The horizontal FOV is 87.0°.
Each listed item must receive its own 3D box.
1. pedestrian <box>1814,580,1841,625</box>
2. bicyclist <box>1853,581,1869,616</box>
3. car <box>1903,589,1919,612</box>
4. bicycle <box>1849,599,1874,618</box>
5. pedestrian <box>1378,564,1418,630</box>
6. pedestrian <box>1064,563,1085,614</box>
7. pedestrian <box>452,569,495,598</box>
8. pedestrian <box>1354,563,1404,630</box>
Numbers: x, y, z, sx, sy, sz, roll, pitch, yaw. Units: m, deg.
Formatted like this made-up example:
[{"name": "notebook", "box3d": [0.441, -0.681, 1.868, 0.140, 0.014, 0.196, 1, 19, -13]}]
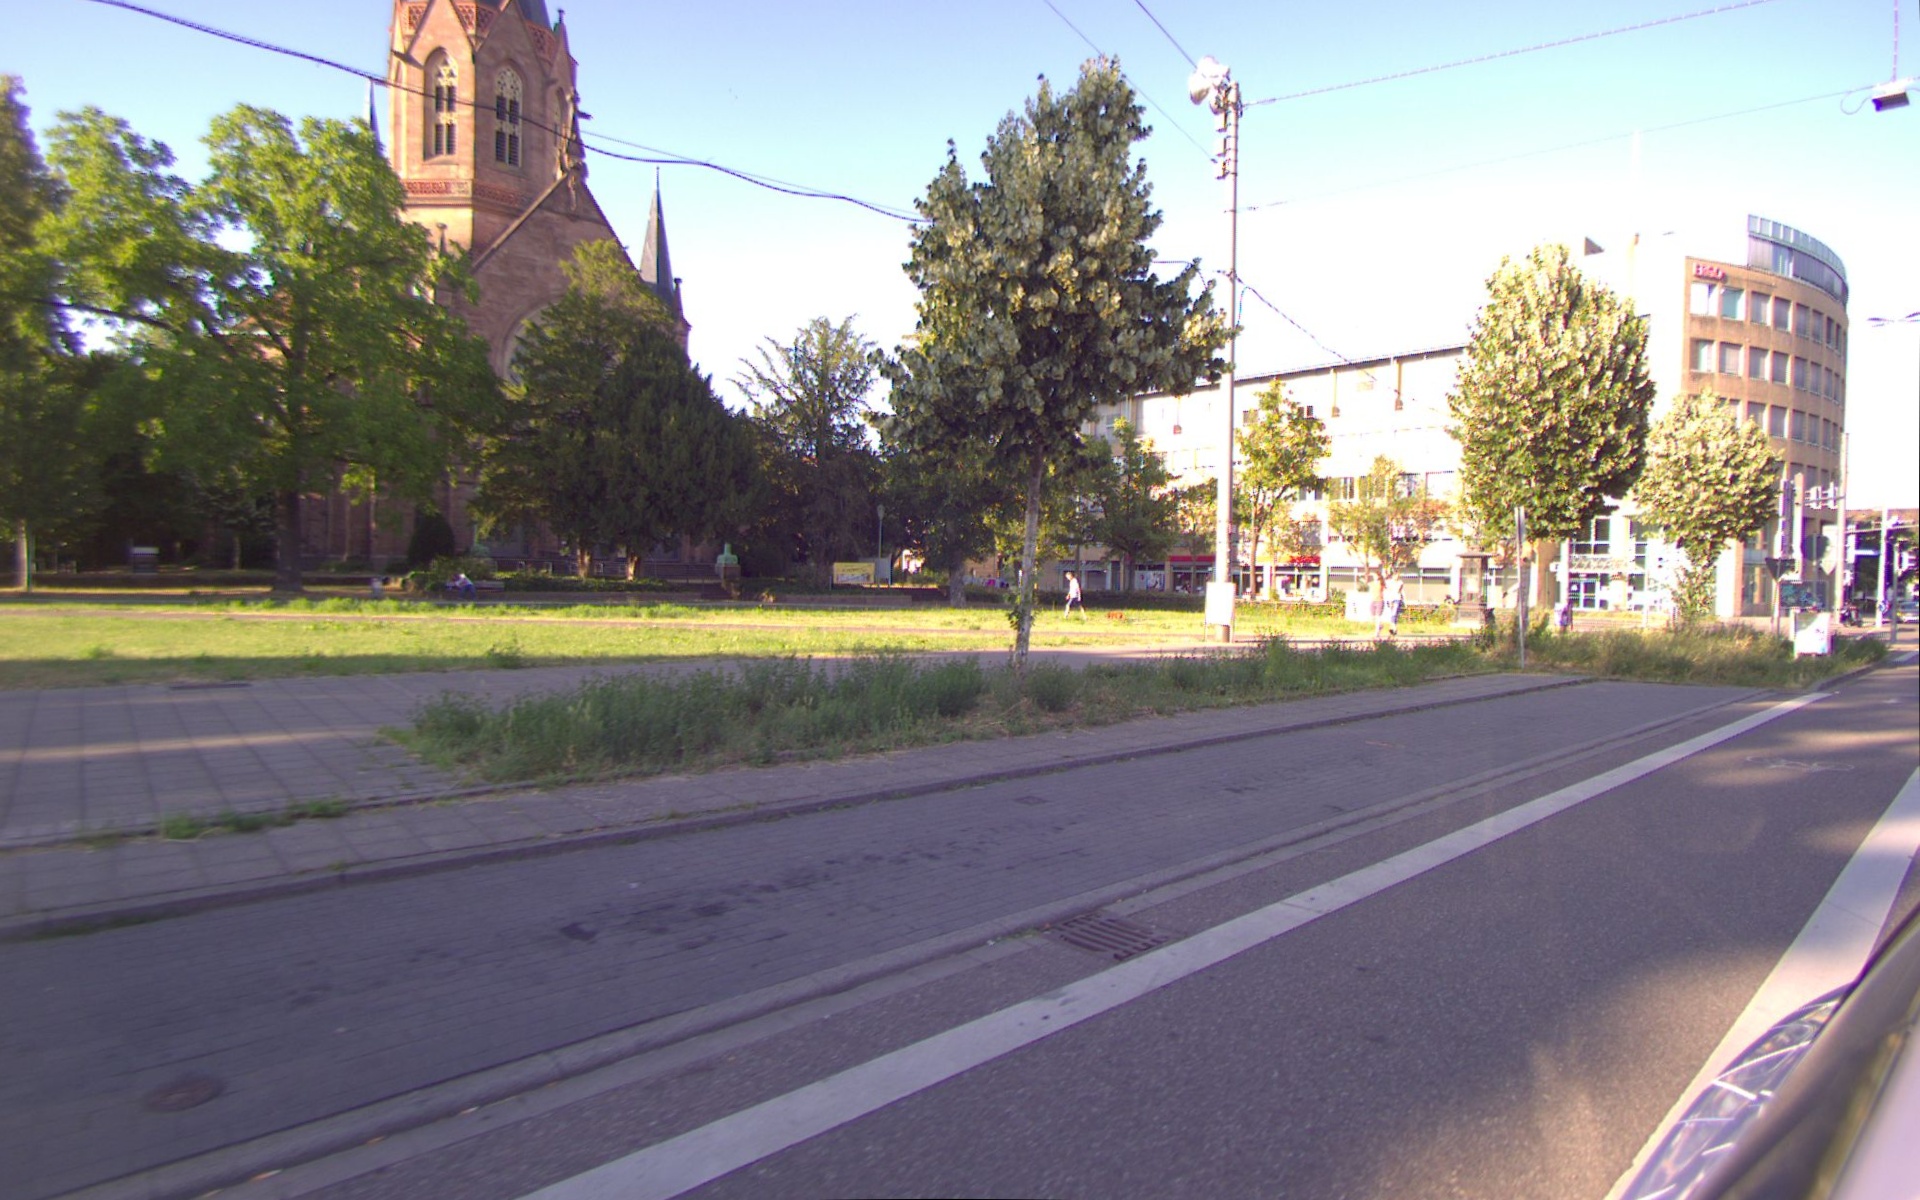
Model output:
[{"name": "pedestrian", "box3d": [33.794, 0.089, 39.429, 0.702, 1.746, 0.651, 0, 1, -40]}, {"name": "bicyclist", "box3d": [50.976, -0.086, 57.260, 0.685, 1.963, 0.577, 1, -1, -39]}, {"name": "car", "box3d": [63.138, 0.020, 66.291, 3.946, 1.491, 1.767, -1, 0, -43]}, {"name": "bicycle", "box3d": [51.022, 0.471, 57.286, 1.942, 1.064, 0.700, 0, 0, -38]}, {"name": "pedestrian", "box3d": [11.777, -0.085, 27.233, 0.767, 1.709, 0.599, 1, 3, -38]}, {"name": "pedestrian", "box3d": [4.025, -0.396, 35.624, 0.633, 1.761, 0.594, 1, 1, 15]}, {"name": "pedestrian", "box3d": [-17.520, -0.595, 36.429, 1.258, 1.006, 1.385, 1, 1, -31]}, {"name": "pedestrian", "box3d": [10.818, -0.096, 26.153, 0.899, 1.670, 0.741, 1, 4, -38]}]
